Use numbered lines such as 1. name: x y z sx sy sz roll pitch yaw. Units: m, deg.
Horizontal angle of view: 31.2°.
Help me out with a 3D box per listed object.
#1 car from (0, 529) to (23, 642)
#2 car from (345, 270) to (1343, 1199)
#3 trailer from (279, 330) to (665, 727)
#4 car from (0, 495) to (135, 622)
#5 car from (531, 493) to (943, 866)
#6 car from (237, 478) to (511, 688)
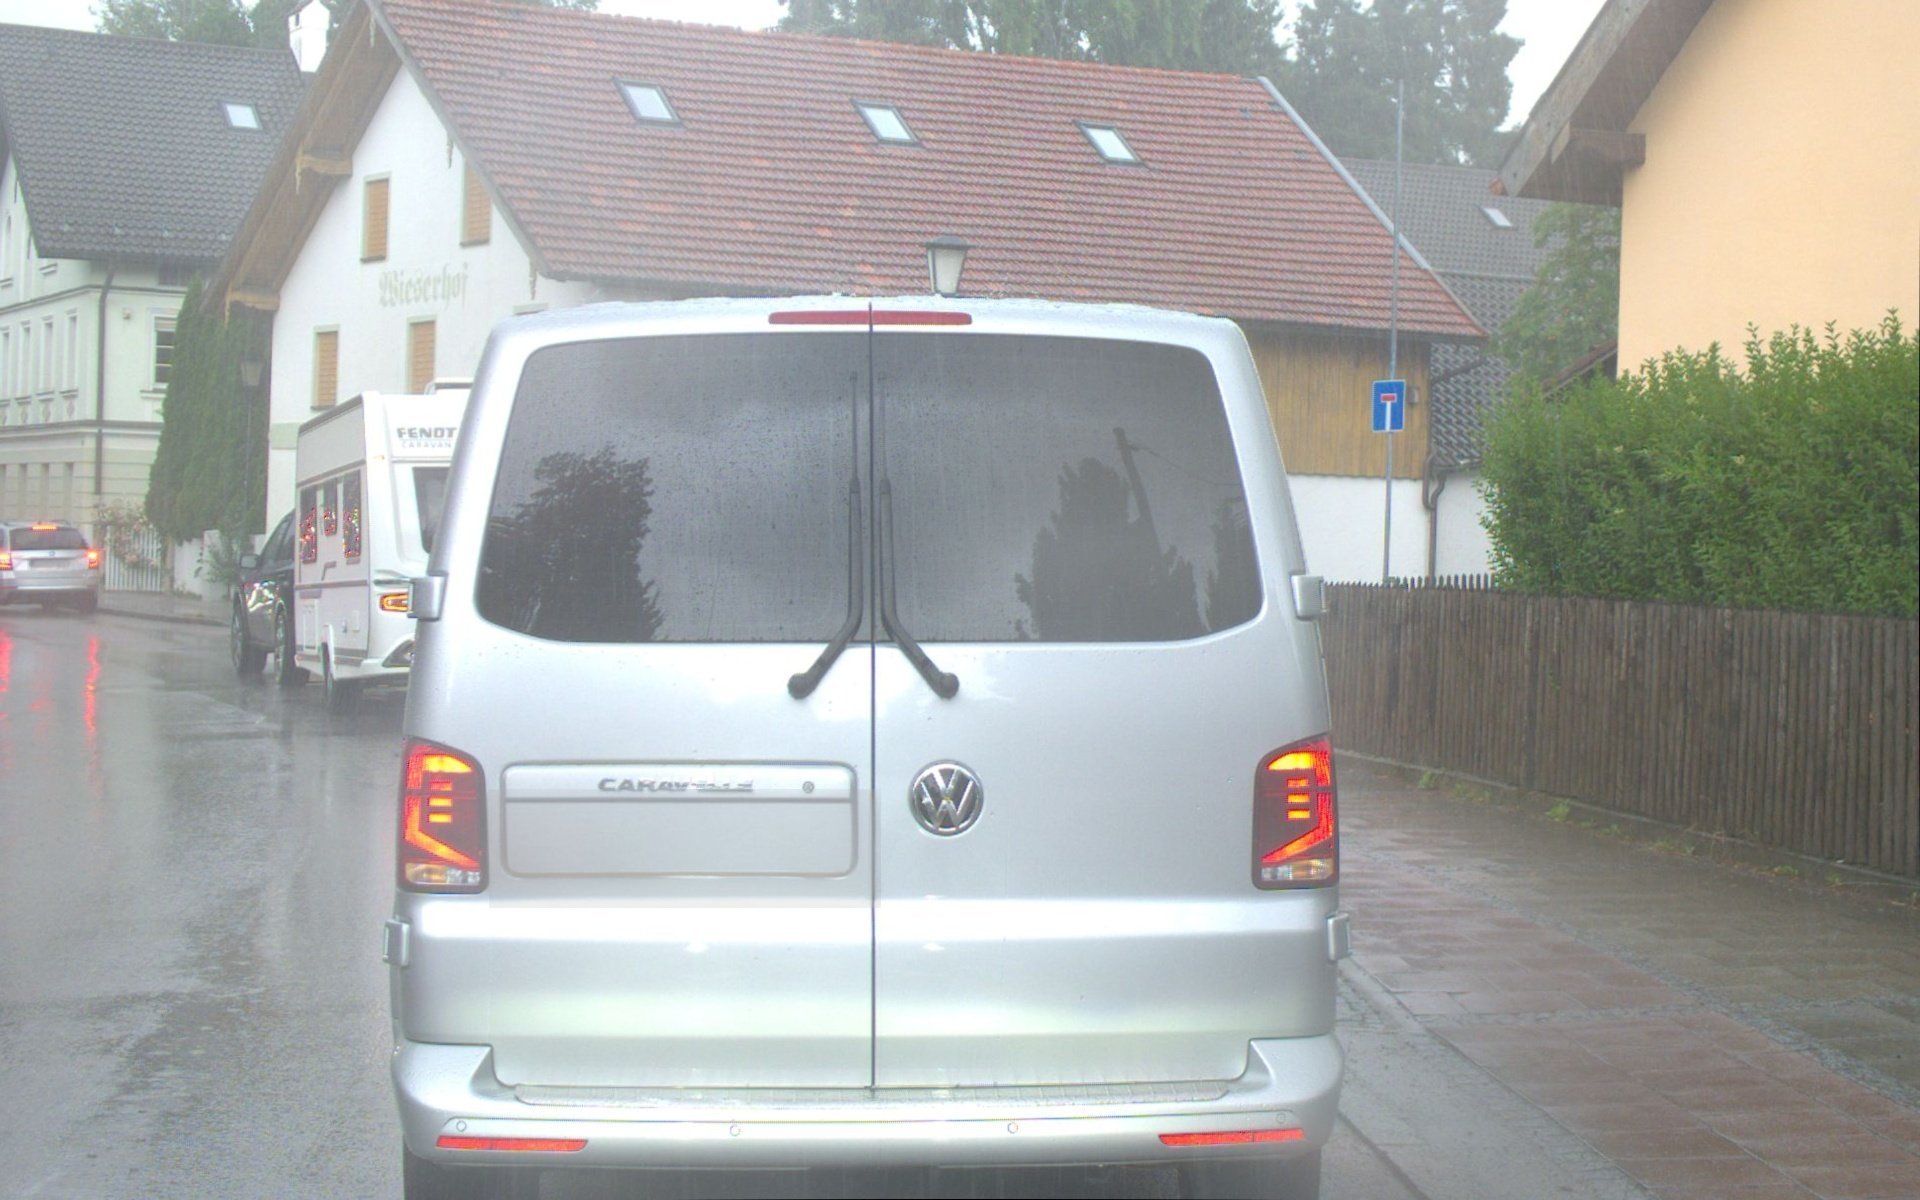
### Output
1. car: -18.146 -0.357 60.506 2.168 1.892 5.015 2 1 -27
2. car: -0.221 0.349 8.668 1.776 1.956 5.074 0 1 0
3. trailer: -4.170 -0.578 28.342 2.270 2.894 6.134 0 1 -16
4. car: -14.890 -0.670 54.906 2.168 1.893 5.015 2 0 -27
5. car: -1.261 0.273 17.439 1.708 1.578 4.687 -1 2 -8
6. car: -5.841 -0.202 33.758 2.053 1.892 5.177 0 1 -16
